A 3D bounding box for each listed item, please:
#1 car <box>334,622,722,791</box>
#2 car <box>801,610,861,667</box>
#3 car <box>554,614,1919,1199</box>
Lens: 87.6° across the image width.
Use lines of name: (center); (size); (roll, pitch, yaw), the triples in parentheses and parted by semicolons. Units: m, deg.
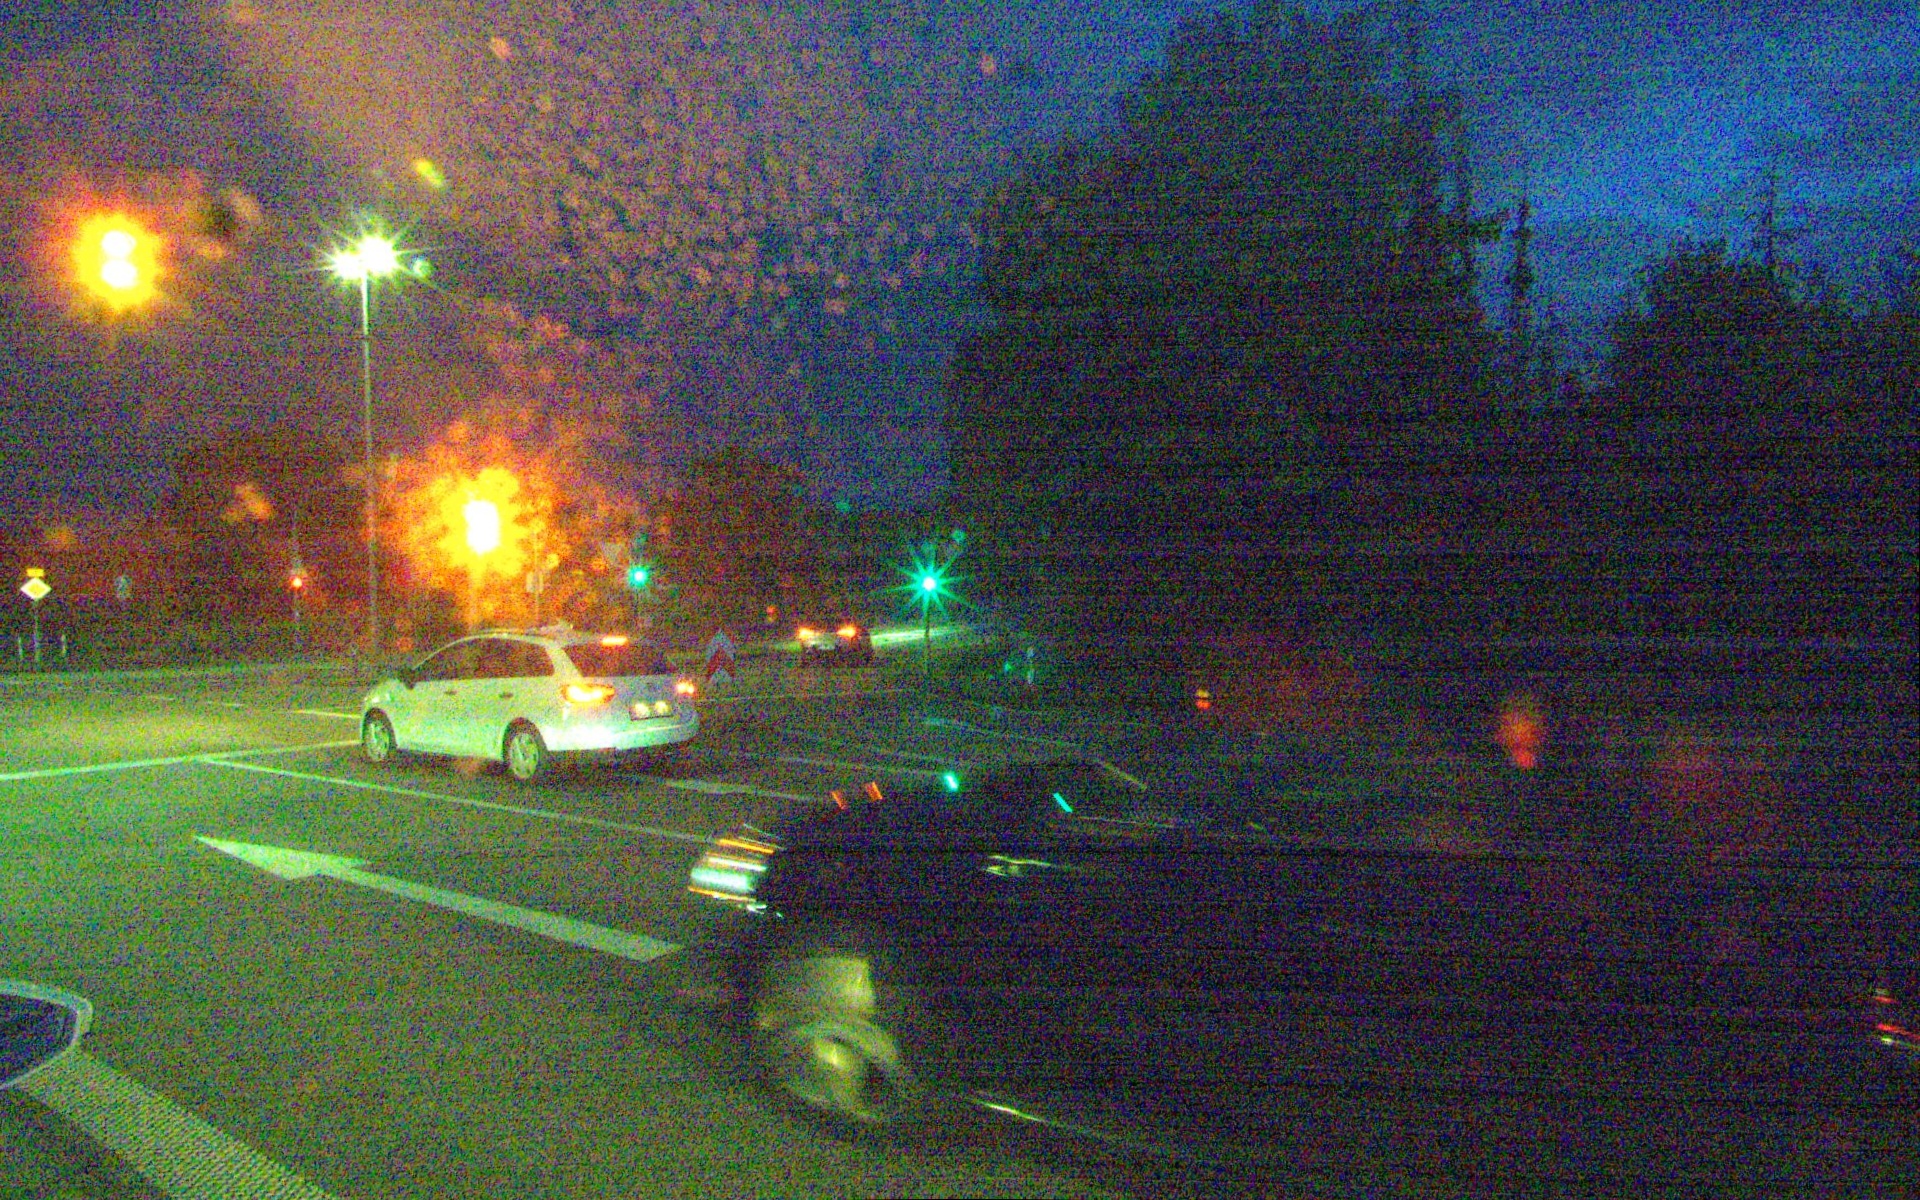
car: (-4.556, 0.967, 10.415); (4.056, 1.462, 1.618); (-1, -1, 30)
car: (-4.109, 1.183, 32.412); (1.707, 1.594, 4.057); (1, 1, -4)
car: (1.095, 0.798, 2.969); (4.462, 1.462, 1.790); (-1, -2, 27)
